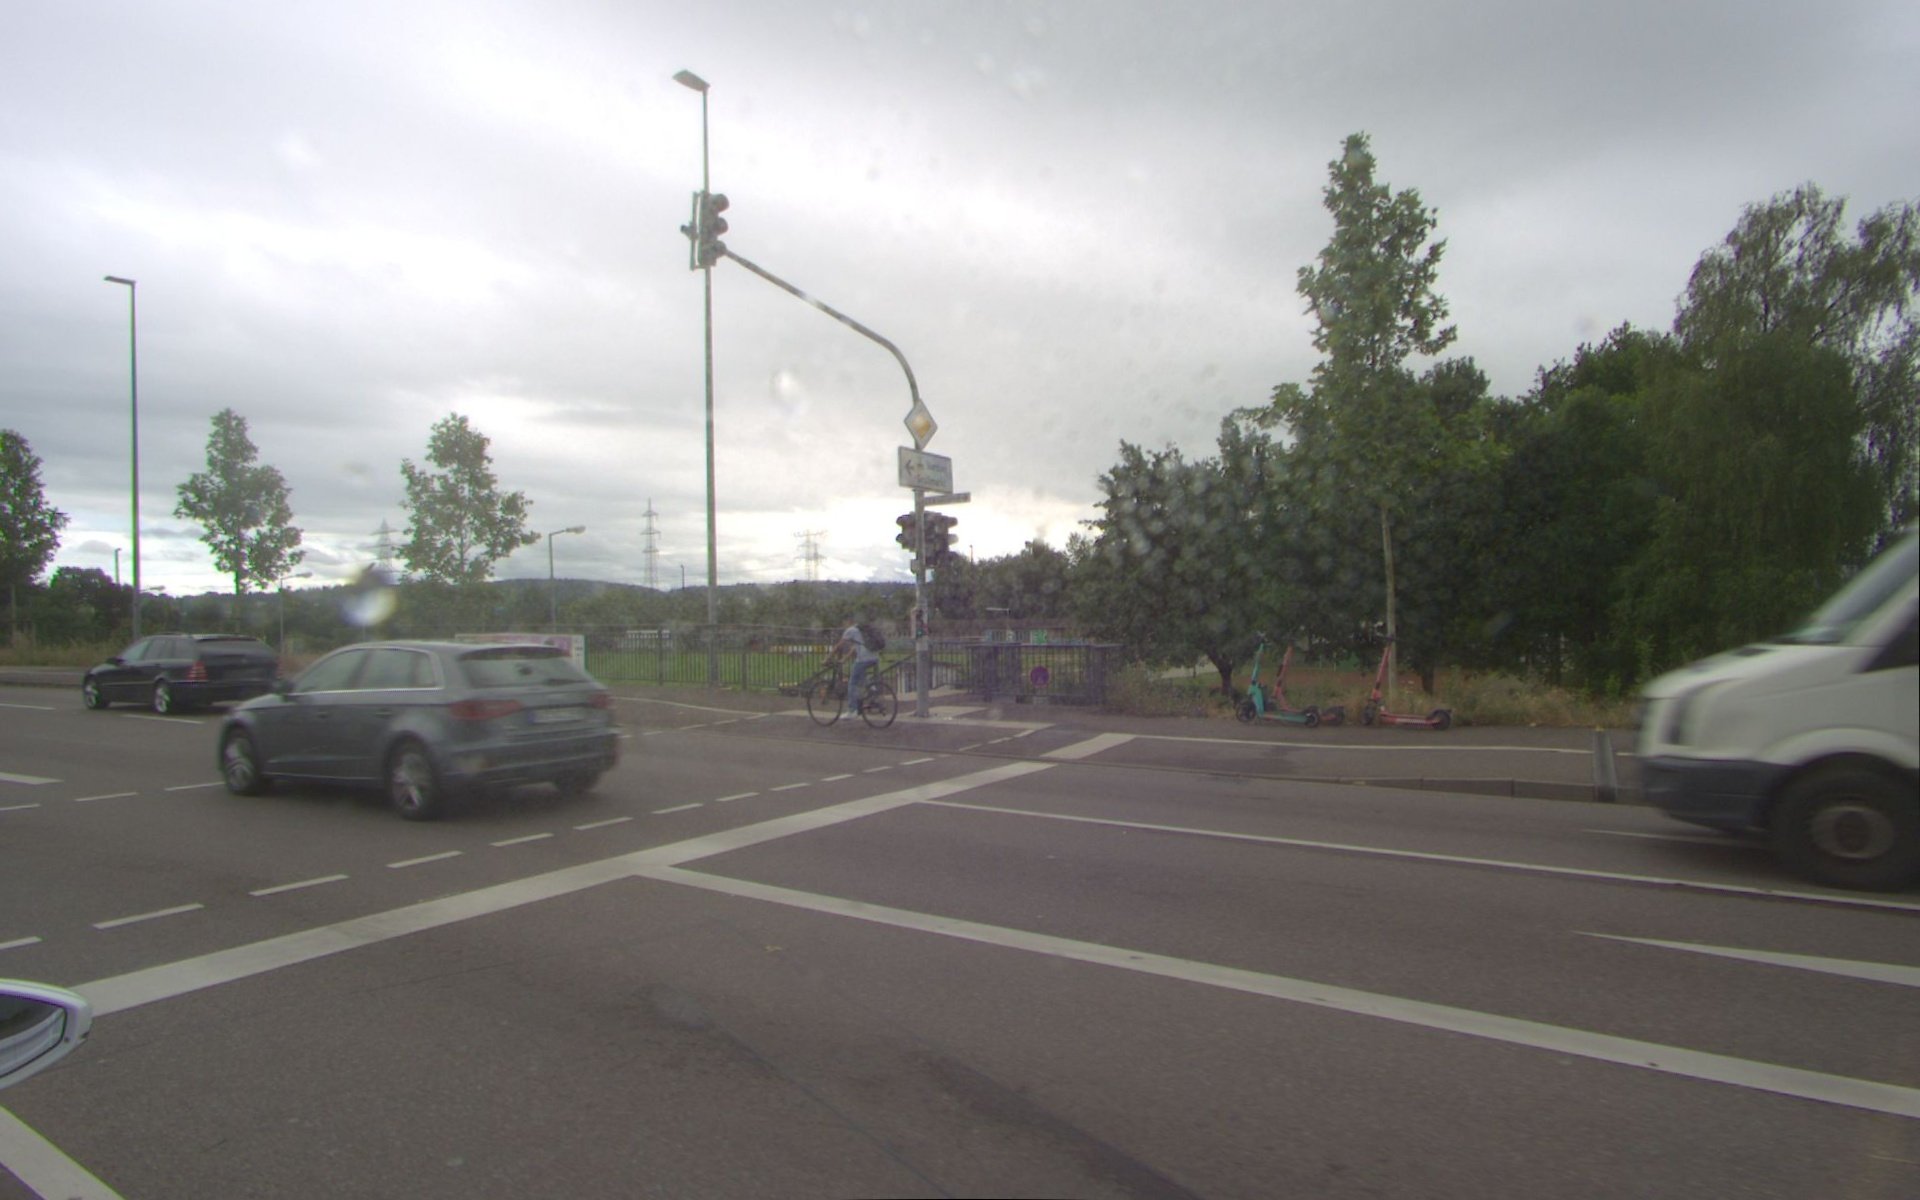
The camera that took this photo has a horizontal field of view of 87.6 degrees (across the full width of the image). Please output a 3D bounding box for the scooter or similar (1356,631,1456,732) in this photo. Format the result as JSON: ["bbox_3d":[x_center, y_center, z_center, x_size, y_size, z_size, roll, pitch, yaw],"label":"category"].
[{"bbox_3d":[5.669,1.036,12.752,1.035,1.230,0.372,-4,-1,40],"label":"scooter or similar"}]

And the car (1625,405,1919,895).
[{"bbox_3d":[7.362,0.282,5.693,5.813,2.659,2.653,-1,-2,31],"label":"car"}]

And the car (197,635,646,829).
[{"bbox_3d":[-5.001,1.043,9.221,4.014,1.420,1.737,-1,-1,28],"label":"car"}]

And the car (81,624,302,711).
[{"bbox_3d":[-14.614,1.217,19.005,4.252,1.498,1.734,-1,-2,28],"label":"car"}]

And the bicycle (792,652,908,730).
[{"bbox_3d":[-1.639,1.320,14.791,1.683,1.060,0.546,-1,2,30],"label":"bicycle"}]

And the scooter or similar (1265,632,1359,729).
[{"bbox_3d":[4.815,1.083,13.714,1.139,1.260,0.389,-1,1,35],"label":"scooter or similar"}]

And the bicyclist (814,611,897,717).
[{"bbox_3d":[-1.530,0.911,14.693,0.953,1.473,0.689,-1,2,30],"label":"bicyclist"}]

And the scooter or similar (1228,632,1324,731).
[{"bbox_3d":[4.266,1.082,13.553,1.141,1.260,0.474,-1,1,40],"label":"scooter or similar"}]
